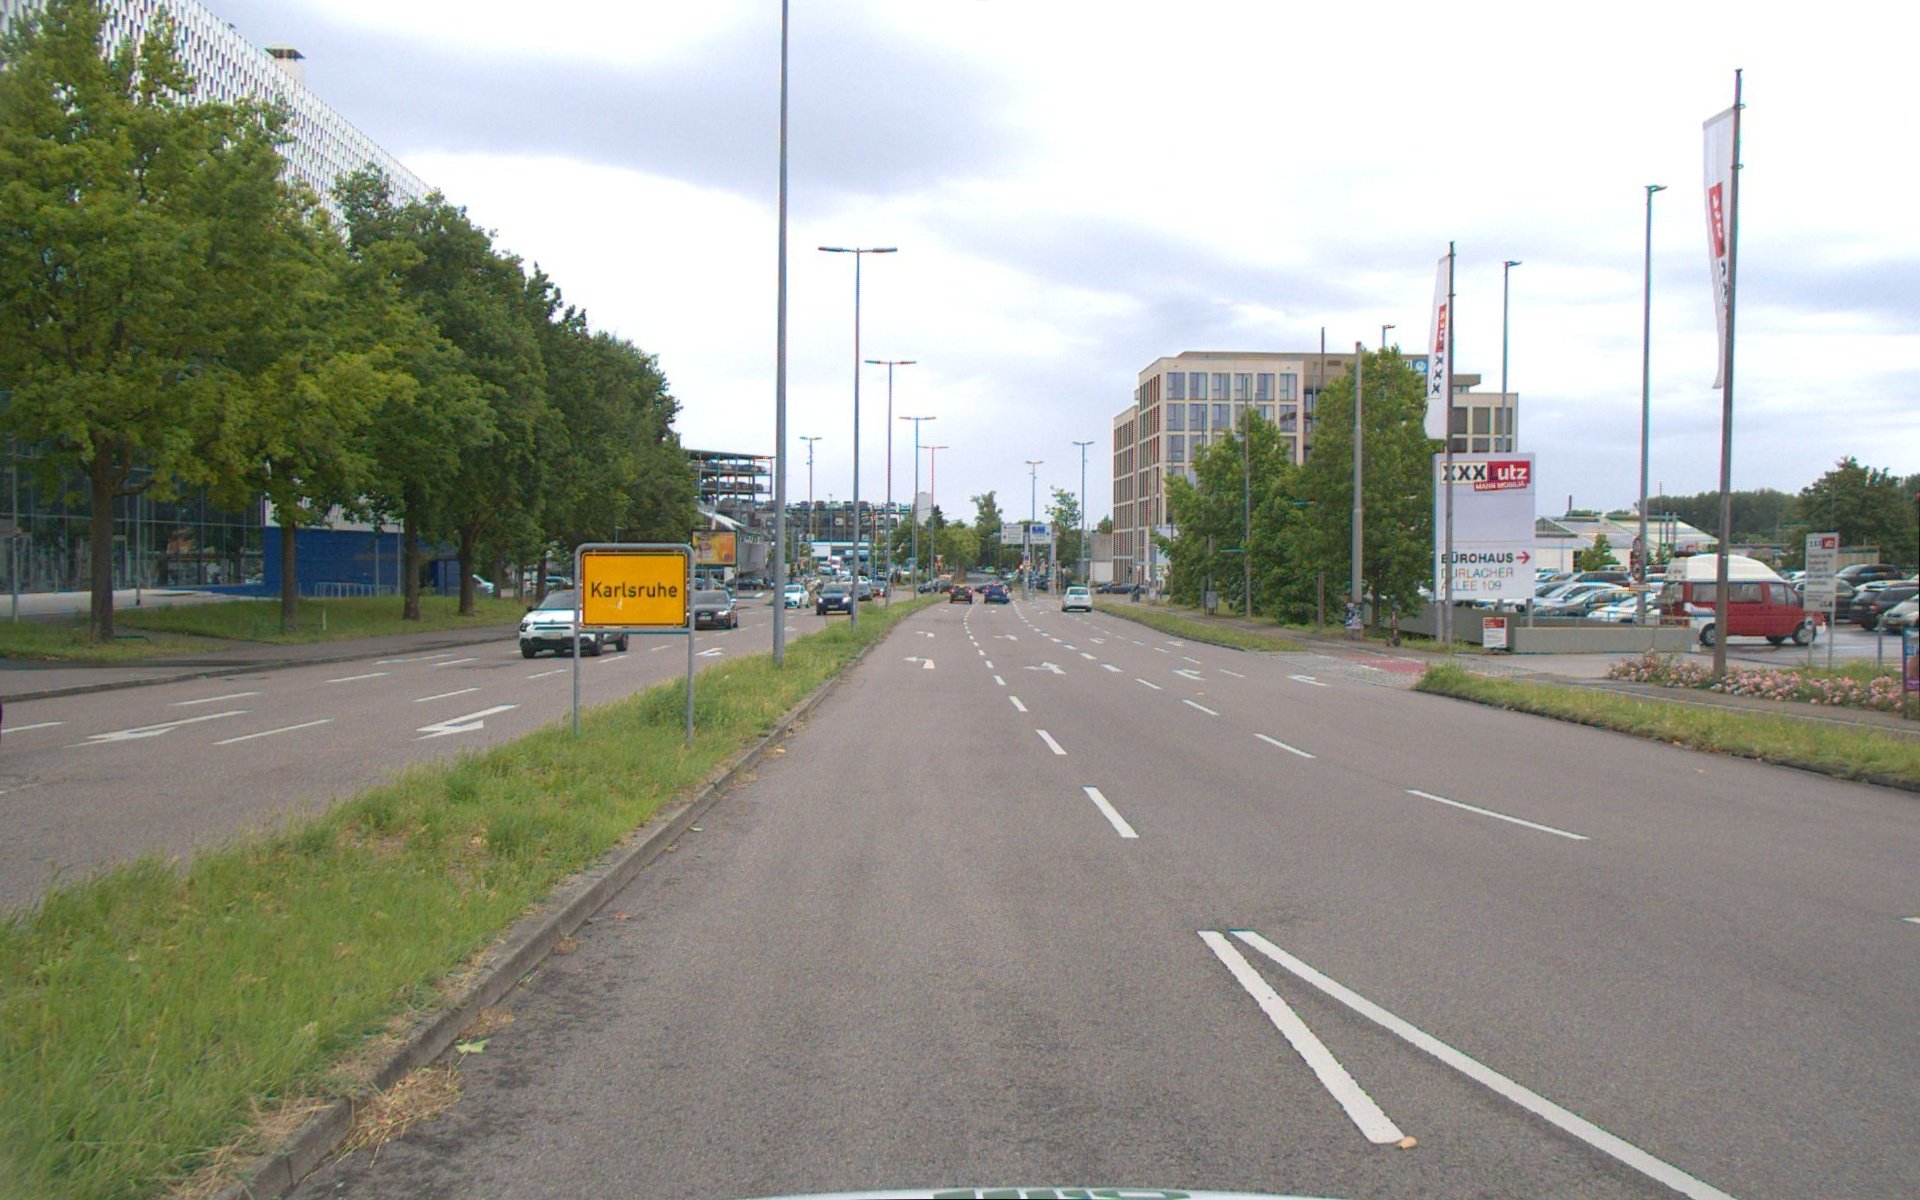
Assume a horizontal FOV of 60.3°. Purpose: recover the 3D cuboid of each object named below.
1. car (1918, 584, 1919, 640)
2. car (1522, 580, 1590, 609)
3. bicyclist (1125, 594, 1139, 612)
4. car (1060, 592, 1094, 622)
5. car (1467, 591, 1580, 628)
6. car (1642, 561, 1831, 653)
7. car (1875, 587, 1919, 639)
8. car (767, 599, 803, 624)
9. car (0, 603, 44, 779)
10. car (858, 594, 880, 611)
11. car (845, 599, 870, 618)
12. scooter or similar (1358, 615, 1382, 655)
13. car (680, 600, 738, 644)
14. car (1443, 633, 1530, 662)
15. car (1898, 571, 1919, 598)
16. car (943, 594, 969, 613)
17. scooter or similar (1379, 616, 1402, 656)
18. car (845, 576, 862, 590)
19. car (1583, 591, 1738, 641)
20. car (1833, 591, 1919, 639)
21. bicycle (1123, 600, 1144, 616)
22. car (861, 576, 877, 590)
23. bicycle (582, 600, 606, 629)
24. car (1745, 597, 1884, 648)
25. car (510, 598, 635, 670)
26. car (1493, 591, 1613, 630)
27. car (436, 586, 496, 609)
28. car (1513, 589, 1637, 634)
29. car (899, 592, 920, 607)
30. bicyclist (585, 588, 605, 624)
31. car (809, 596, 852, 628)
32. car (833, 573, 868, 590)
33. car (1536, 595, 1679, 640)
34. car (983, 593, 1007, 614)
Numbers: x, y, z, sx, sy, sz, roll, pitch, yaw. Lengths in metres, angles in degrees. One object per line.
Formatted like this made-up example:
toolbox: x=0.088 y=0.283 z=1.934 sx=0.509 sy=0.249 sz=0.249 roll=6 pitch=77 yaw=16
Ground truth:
car: x=32.617 y=0.445 z=52.274 sx=3.659 sy=1.798 sz=1.734 roll=1 pitch=2 yaw=1
car: x=36.537 y=-0.326 z=101.382 sx=3.556 sy=1.661 sz=1.702 roll=1 pitch=2 yaw=4
bicyclist: x=14.938 y=0.270 z=143.885 sx=0.694 sy=1.530 sz=0.988 roll=1 pitch=1 yaw=-36
car: x=7.274 y=0.408 z=103.083 sx=1.952 sy=1.783 sz=4.181 roll=1 pitch=0 yaw=1
car: x=22.722 y=0.380 z=66.772 sx=3.972 sy=1.373 sz=1.764 roll=1 pitch=2 yaw=-2
car: x=23.322 y=0.184 z=49.836 sx=4.625 sy=2.624 sz=2.171 roll=1 pitch=2 yaw=1
car: x=32.767 y=0.443 z=54.728 sx=3.905 sy=1.623 sz=1.880 roll=1 pitch=2 yaw=0
car: x=-10.943 y=0.721 z=103.882 sx=1.828 sy=1.480 sz=4.168 roll=-1 pitch=0 yaw=0
car: x=-9.062 y=0.801 z=12.956 sx=1.570 sy=1.524 sz=4.036 roll=-2 pitch=0 yaw=-1
car: x=-8.399 y=0.213 z=152.578 sx=1.743 sy=1.481 sz=4.182 roll=-1 pitch=1 yaw=0
car: x=-8.351 y=0.667 z=134.848 sx=1.736 sy=1.477 sz=4.404 roll=-1 pitch=0 yaw=0
scooter or similar: x=14.820 y=1.257 z=59.823 sx=0.636 sy=1.446 sz=1.820 roll=0 pitch=0 yaw=8
car: x=-9.229 y=0.776 z=61.025 sx=1.847 sy=1.461 sz=4.426 roll=-2 pitch=1 yaw=-6
car: x=27.509 y=2.484 z=86.473 sx=3.972 sy=1.374 sz=1.763 roll=1 pitch=0 yaw=-2
car: x=53.157 y=-0.829 z=89.775 sx=3.519 sy=1.400 sz=1.703 roll=1 pitch=2 yaw=2
car: x=-0.321 y=0.285 z=126.136 sx=1.947 sy=1.453 sz=4.240 roll=1 pitch=-1 yaw=-1
scooter or similar: x=13.336 y=1.110 z=51.235 sx=0.362 sy=1.211 sz=1.248 roll=0 pitch=1 yaw=-1
car: x=-14.886 y=-2.385 z=231.306 sx=1.738 sy=1.735 sz=3.920 roll=1 pitch=2 yaw=5
car: x=23.103 y=0.505 z=54.648 sx=4.284 sy=1.486 sz=1.961 roll=1 pitch=2 yaw=1
car: x=32.577 y=0.522 z=57.079 sx=3.906 sy=1.561 sz=1.888 roll=1 pitch=0 yaw=-1
bicycle: x=15.068 y=0.709 z=143.711 sx=0.694 sy=1.318 sz=1.986 roll=1 pitch=1 yaw=-35
car: x=-12.741 y=-2.361 z=231.331 sx=1.738 sy=1.735 sz=3.920 roll=1 pitch=2 yaw=5
bicycle: x=-16.604 y=0.661 z=75.126 sx=0.629 sy=1.272 sz=2.056 roll=2 pitch=0 yaw=-1
car: x=32.169 y=0.838 z=62.368 sx=4.222 sy=1.774 sz=1.890 roll=1 pitch=2 yaw=2
car: x=-8.999 y=0.766 z=38.720 sx=1.891 sy=1.545 sz=4.182 roll=-2 pitch=0 yaw=0
car: x=22.940 y=0.389 z=64.027 sx=3.972 sy=1.373 sz=1.835 roll=1 pitch=2 yaw=-2
car: x=-46.115 y=-0.240 z=154.578 sx=5.031 sy=1.997 sz=1.880 roll=0 pitch=4 yaw=-4
car: x=22.943 y=0.412 z=61.836 sx=3.970 sy=1.567 sz=1.764 roll=1 pitch=2 yaw=1
car: x=-5.157 y=-0.067 z=167.856 sx=1.893 sy=1.481 sz=4.179 roll=1 pitch=0 yaw=-4
bicyclist: x=-16.573 y=0.269 z=75.143 sx=0.627 sy=1.605 sz=1.000 roll=2 pitch=0 yaw=-1
car: x=-6.414 y=0.564 z=82.331 sx=1.892 sy=1.512 sz=4.438 roll=-1 pitch=0 yaw=-1
car: x=-12.427 y=-2.064 z=186.983 sx=3.908 sy=1.821 sz=1.846 roll=1 pitch=2 yaw=-4
car: x=23.137 y=0.616 z=59.206 sx=4.373 sy=1.443 sz=1.868 roll=1 pitch=2 yaw=1
car: x=2.752 y=0.291 z=130.320 sx=1.797 sy=1.541 sz=4.000 roll=1 pitch=0 yaw=0
